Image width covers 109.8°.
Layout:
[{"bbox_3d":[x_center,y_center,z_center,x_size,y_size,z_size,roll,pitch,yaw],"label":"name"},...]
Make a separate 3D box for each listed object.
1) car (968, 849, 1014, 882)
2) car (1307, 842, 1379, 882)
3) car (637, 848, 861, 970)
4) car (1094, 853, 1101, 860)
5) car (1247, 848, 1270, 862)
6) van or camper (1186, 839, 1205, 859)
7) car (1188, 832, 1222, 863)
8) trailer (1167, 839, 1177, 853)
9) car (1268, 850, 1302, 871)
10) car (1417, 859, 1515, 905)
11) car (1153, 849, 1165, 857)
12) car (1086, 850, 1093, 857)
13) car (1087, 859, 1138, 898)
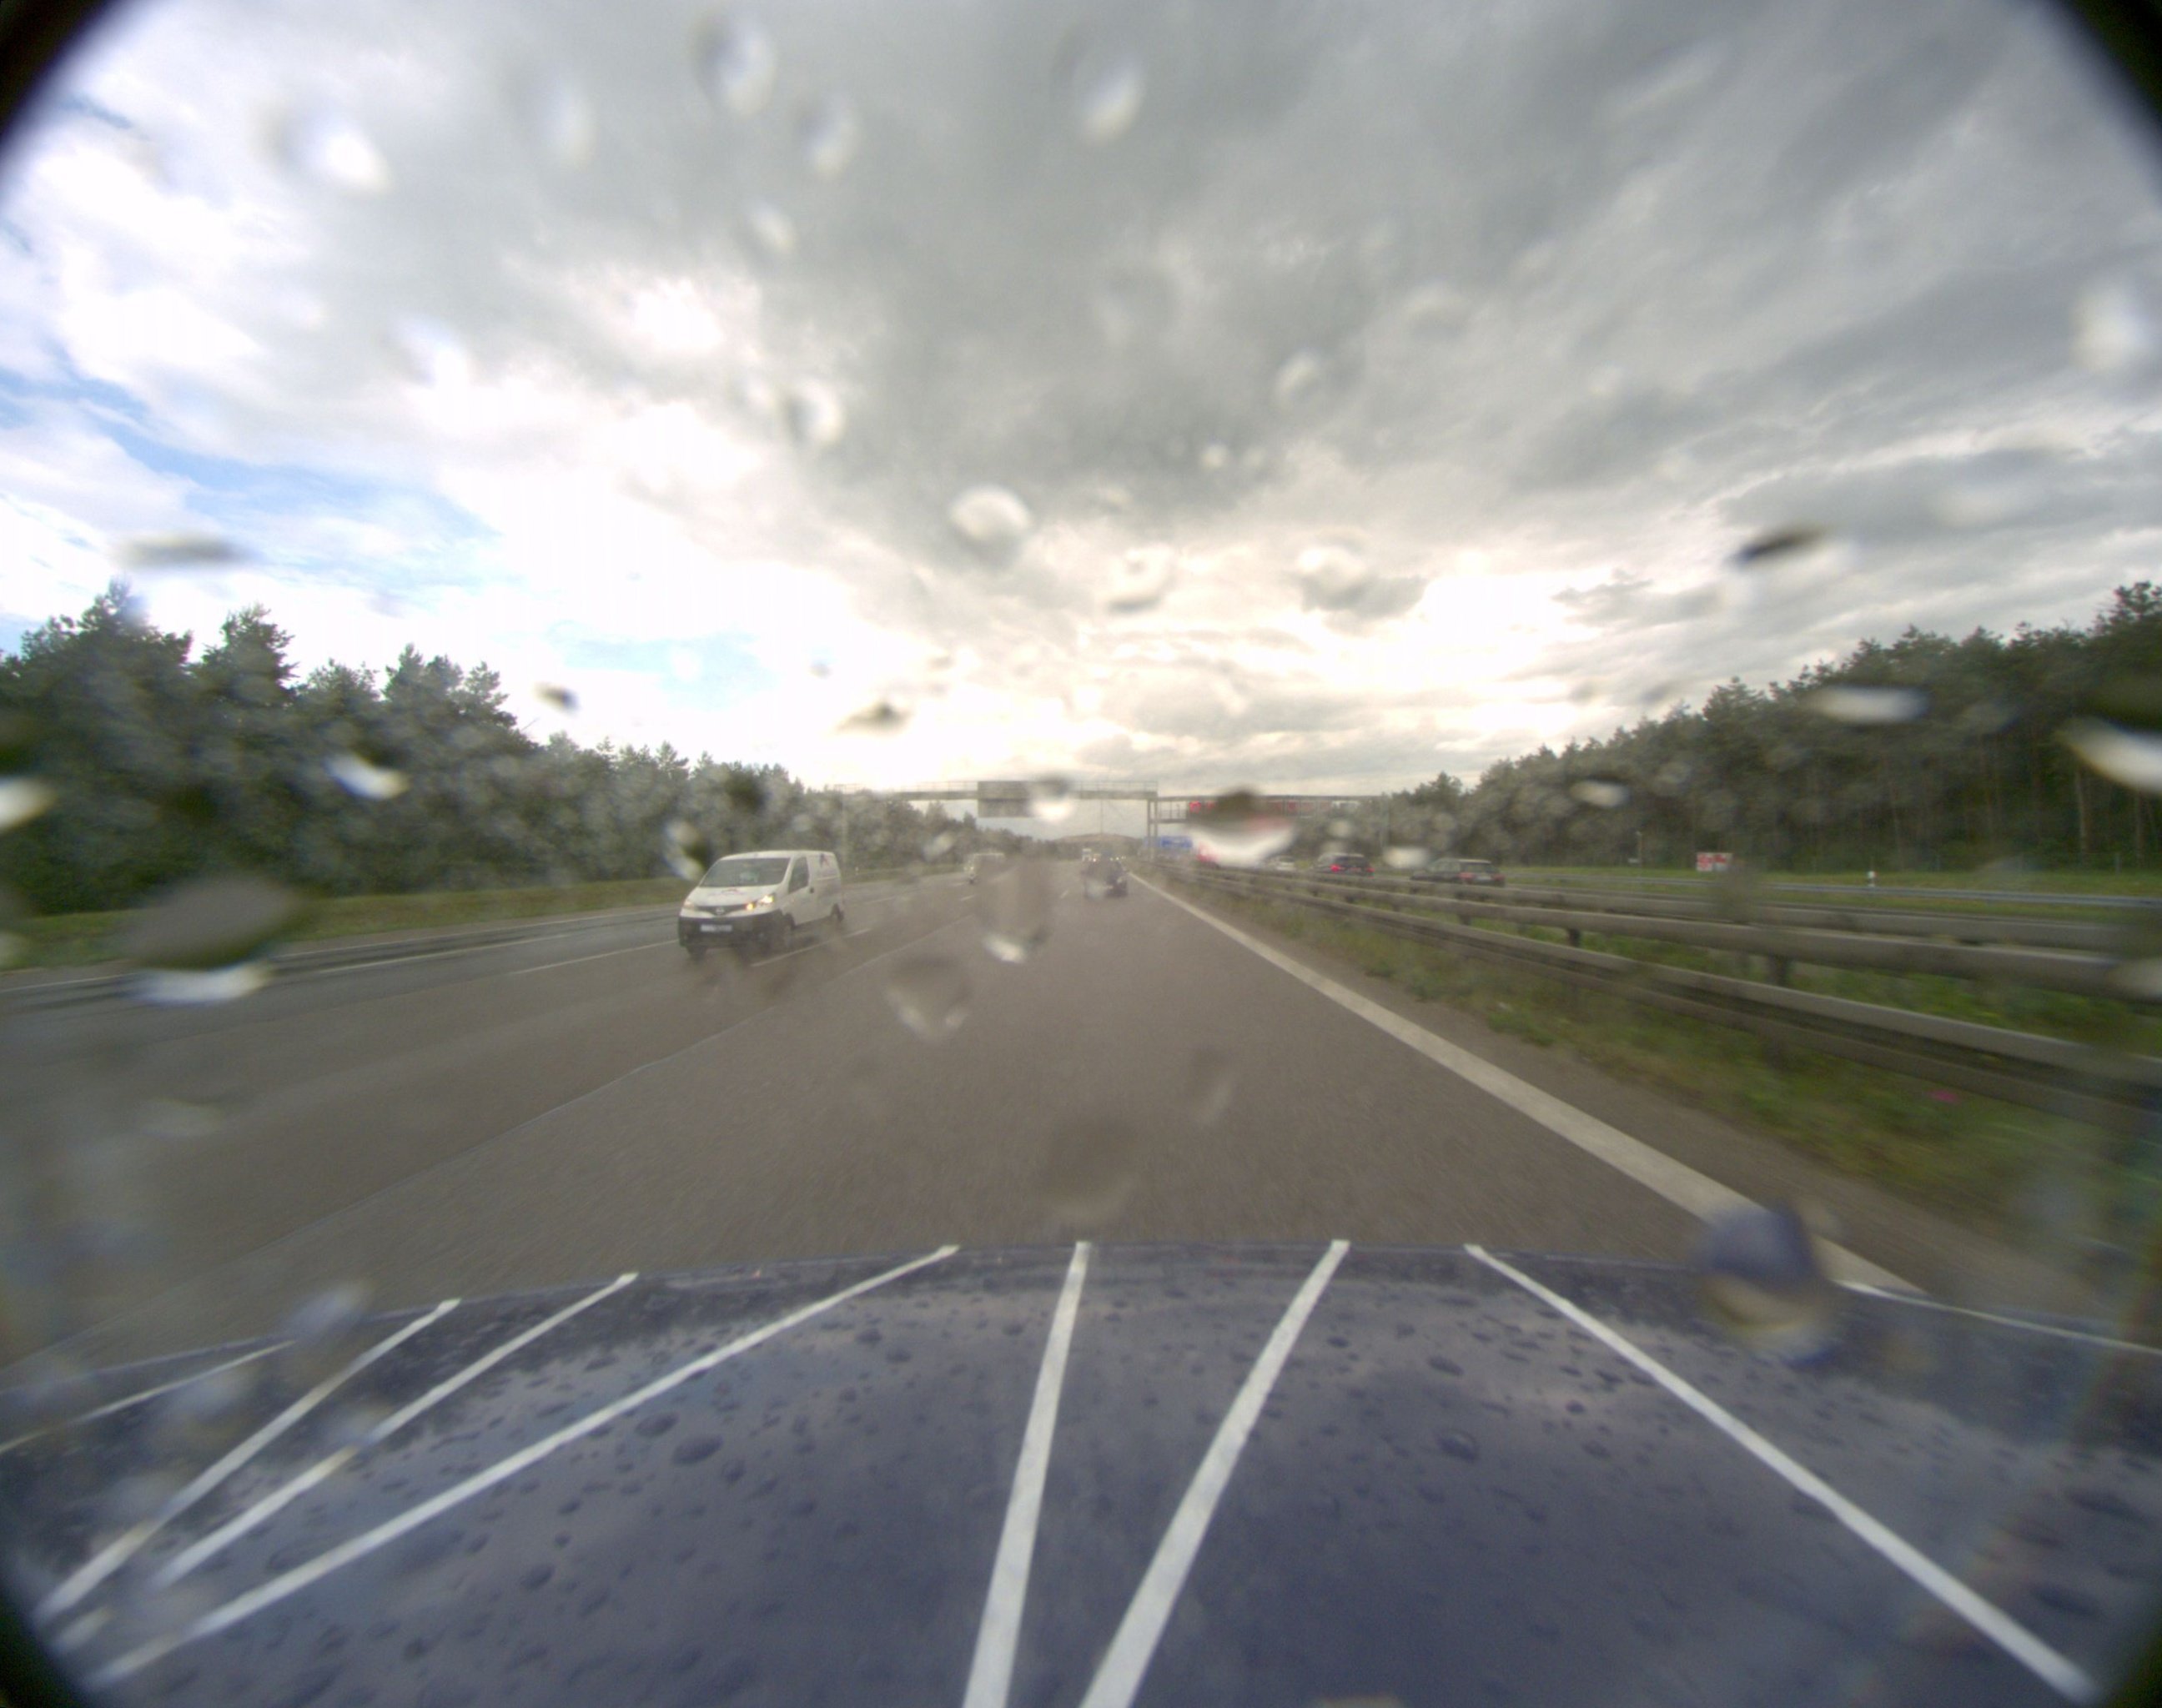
[{"bbox_3d":[-5.982,0.714,51.420,1.998,2.002,5.484,-2,0,4],"label":"car"},{"bbox_3d":[10.702,0.297,31.340,1.794,1.533,3.722,0,1,2],"label":"car"},{"bbox_3d":[-6.018,0.863,14.592,1.968,1.891,4.881,-2,0,2],"label":"car"},{"bbox_3d":[4.501,0.723,207.846,1.998,2.002,4.000,-1,1,1],"label":"car"},{"bbox_3d":[20.638,0.113,88.398,1.727,1.587,4.155,-1,1,1],"label":"car"},{"bbox_3d":[17.995,-0.735,119.961,2.306,3.094,7.544,0,0,4],"label":"van or camper"},{"bbox_3d":[11.348,-0.590,70.151,2.138,2.646,6.673,-1,0,1],"label":"car"},{"bbox_3d":[29.138,-2.480,244.390,2.102,4.216,14.627,-3,1,3],"label":"trailer"},{"bbox_3d":[16.117,0.508,60.170,1.756,1.570,3.954,-1,1,3],"label":"car"},{"bbox_3d":[14.442,1.001,28.736,1.757,1.570,3.847,-1,1,1],"label":"car"},{"bbox_3d":[14.079,-0.226,137.620,1.698,1.506,4.000,-1,0,1],"label":"car"},{"bbox_3d":[2.401,-0.139,226.999,1.998,2.002,4.000,-1,1,1],"label":"car"},{"bbox_3d":[1.302,0.904,29.847,1.809,1.321,4.432,-1,0,5],"label":"car"}]
